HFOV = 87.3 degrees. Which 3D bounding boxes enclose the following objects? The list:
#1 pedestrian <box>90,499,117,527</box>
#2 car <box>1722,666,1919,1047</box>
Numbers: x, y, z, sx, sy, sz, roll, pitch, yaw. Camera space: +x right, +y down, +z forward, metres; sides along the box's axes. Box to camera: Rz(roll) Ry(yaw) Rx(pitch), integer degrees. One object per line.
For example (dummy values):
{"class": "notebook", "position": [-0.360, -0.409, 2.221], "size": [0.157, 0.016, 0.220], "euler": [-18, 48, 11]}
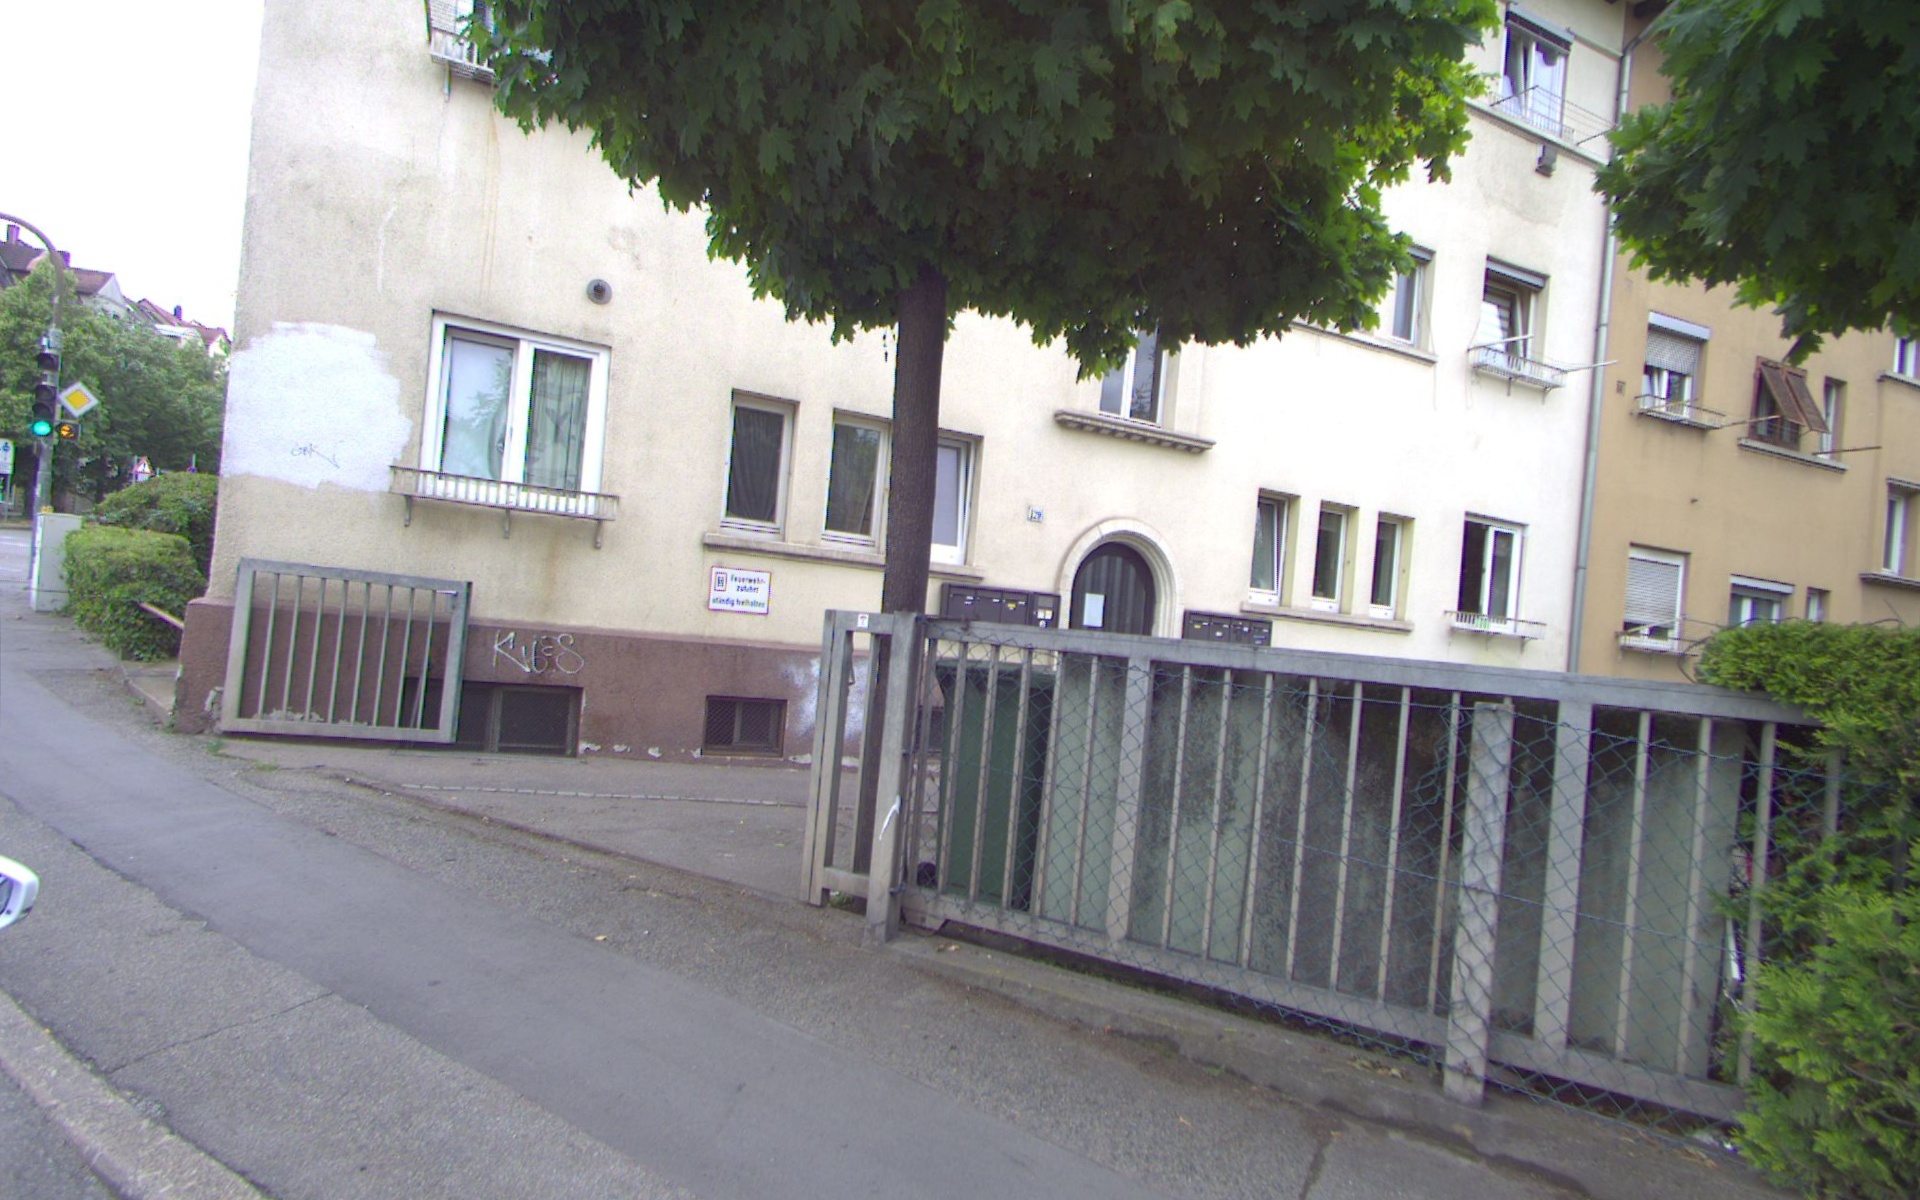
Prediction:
{"class": "pedestrian", "position": [-67.668, -6.878, 79.505], "size": [1.179, 2.038, 0.985], "euler": [7, 0, -18]}
{"class": "car", "position": [5.238, 1.225, 3.754], "size": [1.688, 1.477, 3.405], "euler": [8, -2, -37]}
